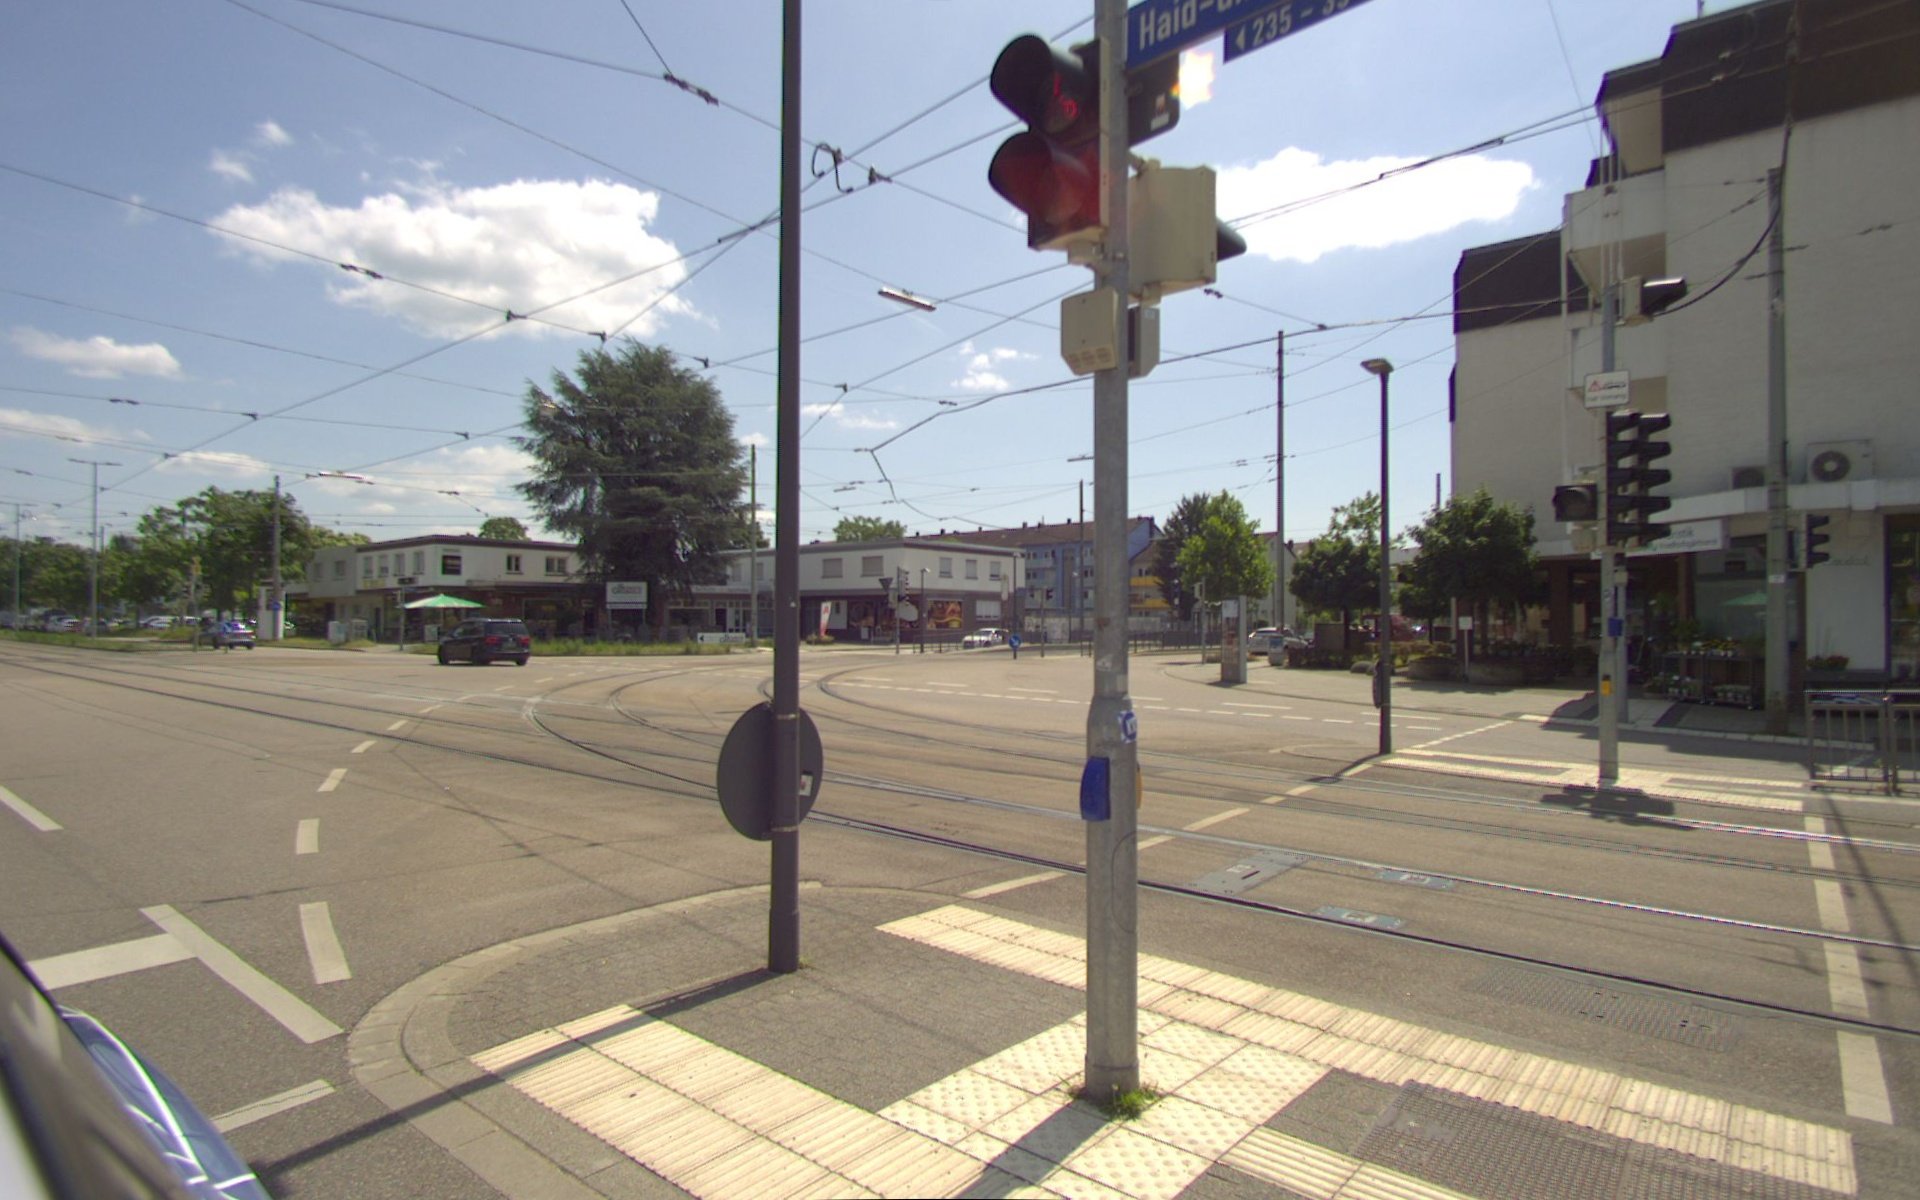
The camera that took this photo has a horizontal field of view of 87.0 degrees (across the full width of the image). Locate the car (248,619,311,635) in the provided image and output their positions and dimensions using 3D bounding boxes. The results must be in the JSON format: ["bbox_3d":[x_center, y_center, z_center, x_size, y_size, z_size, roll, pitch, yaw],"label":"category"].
[{"bbox_3d":[-61.797,2.425,91.976,1.906,1.445,4.425,-1,-2,42],"label":"car"}]

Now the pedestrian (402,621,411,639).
[{"bbox_3d":[-38.390,2.079,70.146,0.532,1.278,0.349,-1,-2,41],"label":"pedestrian"}]

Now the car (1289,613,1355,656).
[{"bbox_3d":[18.606,1.798,51.917,1.998,2.029,3.948,0,-3,38],"label":"car"}]

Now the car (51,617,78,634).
[{"bbox_3d":[-88.804,2.497,100.379,4.357,1.551,1.483,0,1,42],"label":"car"}]

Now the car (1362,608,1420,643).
[{"bbox_3d":[25.696,1.514,60.278,1.999,2.029,3.944,-1,-2,42],"label":"car"}]

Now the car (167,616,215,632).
[{"bbox_3d":[-85.578,2.669,112.662,1.902,1.749,3.946,-1,-2,41],"label":"car"}]

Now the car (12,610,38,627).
[{"bbox_3d":[-110.727,2.163,119.854,4.646,1.953,1.772,0,0,41],"label":"car"}]

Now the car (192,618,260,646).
[{"bbox_3d":[-40.404,1.730,55.698,4.397,1.482,1.973,-1,-2,40],"label":"car"}]

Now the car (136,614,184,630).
[{"bbox_3d":[-96.030,2.689,121.493,1.802,1.749,4.146,0,-3,41],"label":"car"}]

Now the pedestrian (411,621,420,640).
[{"bbox_3d":[-36.866,2.062,68.526,0.501,1.278,0.315,-1,-2,41],"label":"pedestrian"}]

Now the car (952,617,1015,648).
[{"bbox_3d":[1.478,2.003,62.281,1.899,1.738,3.801,0,-3,41],"label":"car"}]

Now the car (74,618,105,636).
[{"bbox_3d":[-81.117,2.508,94.293,4.549,1.551,1.560,0,1,41],"label":"car"}]

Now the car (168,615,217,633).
[{"bbox_3d":[-83.879,2.650,110.676,1.802,1.749,3.945,0,-3,41],"label":"car"}]

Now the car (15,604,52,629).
[{"bbox_3d":[-104.254,1.831,113.865,6.698,2.631,2.129,0,0,39],"label":"car"}]

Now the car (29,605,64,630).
[{"bbox_3d":[-98.242,1.877,108.791,5.030,2.631,2.128,0,0,40],"label":"car"}]

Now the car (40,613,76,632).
[{"bbox_3d":[-93.651,2.282,105.073,4.885,1.851,2.128,0,1,40],"label":"car"}]

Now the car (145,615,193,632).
[{"bbox_3d":[-90.234,2.701,115.450,1.802,1.749,3.945,0,-3,41],"label":"car"}]

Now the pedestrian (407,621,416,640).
[{"bbox_3d":[-37.574,2.079,69.321,0.528,1.278,0.340,-1,-3,43],"label":"pedestrian"}]

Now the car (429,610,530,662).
[{"bbox_3d":[-16.827,1.224,35.375,4.279,1.696,1.705,-1,-2,43],"label":"car"}]

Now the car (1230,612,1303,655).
[{"bbox_3d":[14.430,1.563,47.489,1.998,1.927,3.948,-1,-2,38],"label":"car"}]

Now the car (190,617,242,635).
[{"bbox_3d":[-75.922,2.661,103.327,1.878,1.749,3.946,-1,-2,41],"label":"car"}]

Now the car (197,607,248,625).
[{"bbox_3d":[-109.267,2.386,149.956,2.256,2.500,5.629,-1,-2,37],"label":"car"}]

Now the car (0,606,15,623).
[{"bbox_3d":[-125.042,1.895,131.983,4.484,2.117,2.046,0,0,39],"label":"car"}]
